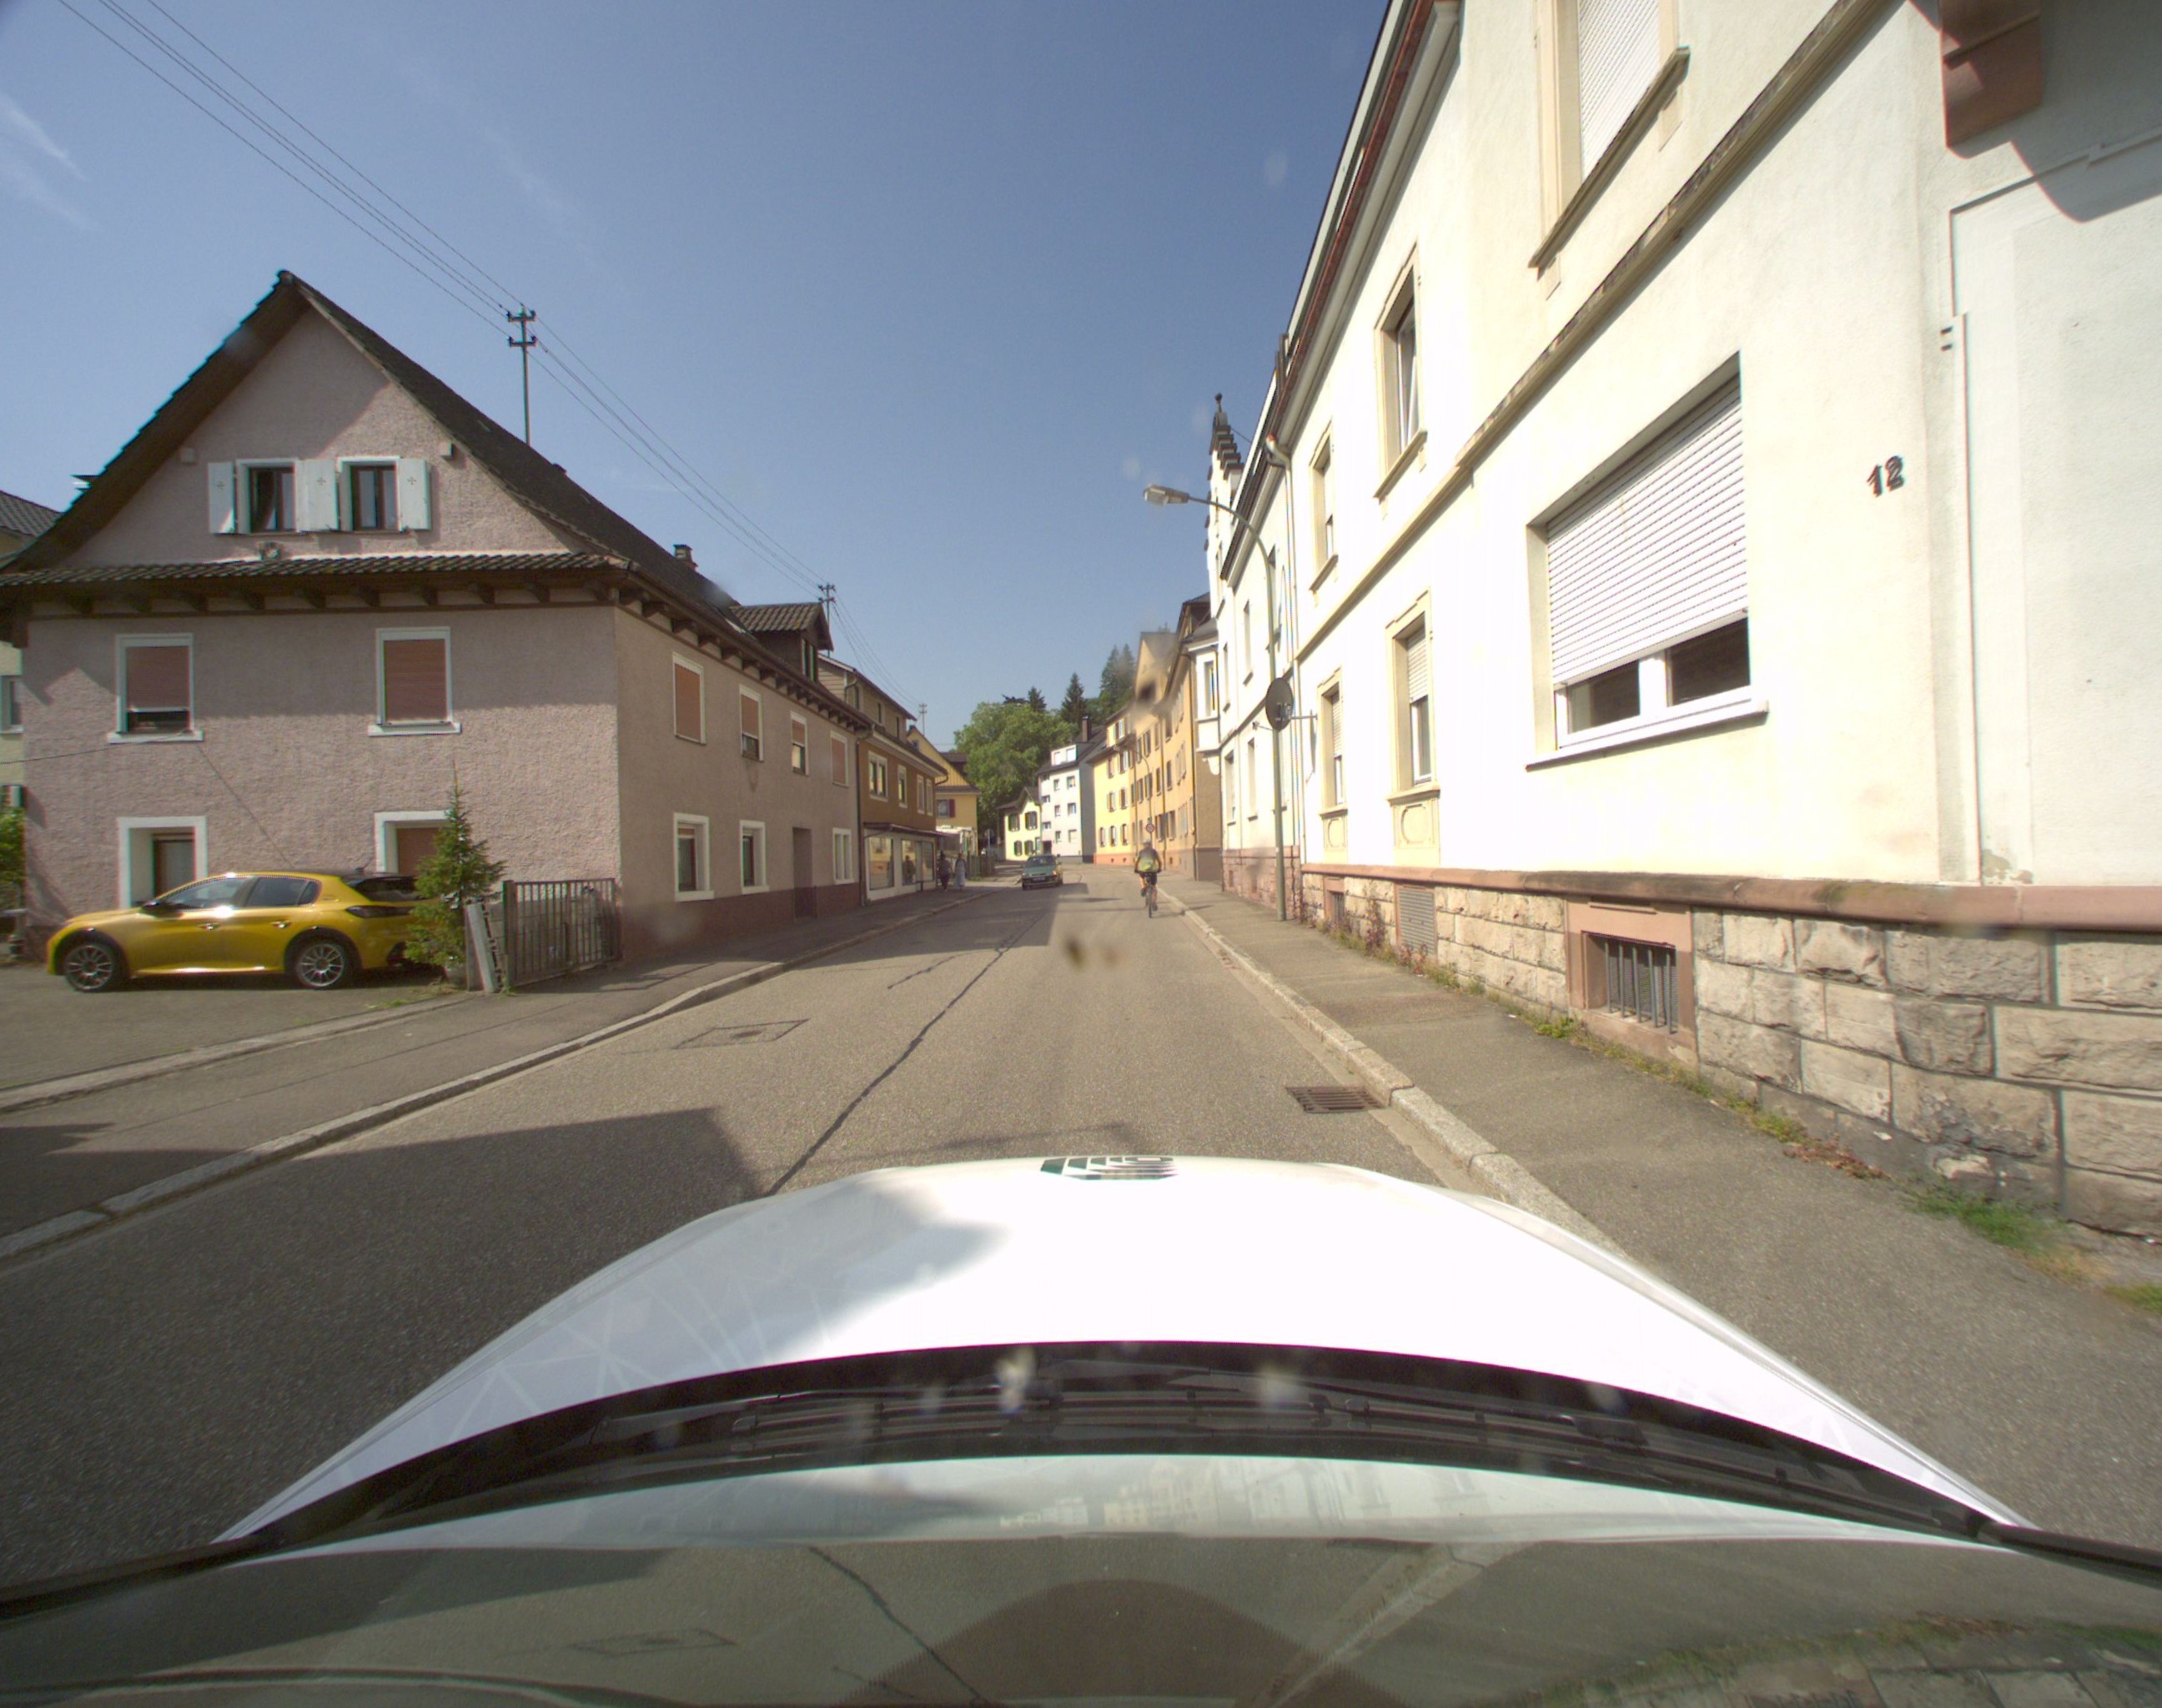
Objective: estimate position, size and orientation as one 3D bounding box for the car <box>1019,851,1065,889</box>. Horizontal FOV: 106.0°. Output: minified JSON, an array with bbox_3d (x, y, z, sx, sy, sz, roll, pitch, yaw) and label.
[{"bbox_3d":[-1.684,0.666,36.029,1.591,1.464,3.661,-5,0,2],"label":"car"}]

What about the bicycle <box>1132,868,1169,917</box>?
[{"bbox_3d":[1.593,0.857,18.790,0.696,1.035,1.471,-1,0,0],"label":"bicycle"}]

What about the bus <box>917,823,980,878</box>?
[{"bbox_3d":[-8.319,-0.217,52.273,2.812,3.228,9.030,0,0,-2],"label":"bus"}]

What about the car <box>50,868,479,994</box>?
[{"bbox_3d":[-10.294,0.927,10.508,3.741,1.392,1.644,-1,1,-2],"label":"car"}]

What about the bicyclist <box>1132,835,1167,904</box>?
[{"bbox_3d":[1.575,0.351,18.769,0.683,1.531,0.715,-3,0,-1],"label":"bicyclist"}]

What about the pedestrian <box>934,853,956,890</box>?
[{"bbox_3d":[-5.780,0.728,34.549,0.732,1.564,0.825,1,0,2],"label":"pedestrian"}]

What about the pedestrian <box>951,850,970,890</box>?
[{"bbox_3d":[-5.062,0.667,34.314,0.637,1.626,0.777,1,0,2],"label":"pedestrian"}]
